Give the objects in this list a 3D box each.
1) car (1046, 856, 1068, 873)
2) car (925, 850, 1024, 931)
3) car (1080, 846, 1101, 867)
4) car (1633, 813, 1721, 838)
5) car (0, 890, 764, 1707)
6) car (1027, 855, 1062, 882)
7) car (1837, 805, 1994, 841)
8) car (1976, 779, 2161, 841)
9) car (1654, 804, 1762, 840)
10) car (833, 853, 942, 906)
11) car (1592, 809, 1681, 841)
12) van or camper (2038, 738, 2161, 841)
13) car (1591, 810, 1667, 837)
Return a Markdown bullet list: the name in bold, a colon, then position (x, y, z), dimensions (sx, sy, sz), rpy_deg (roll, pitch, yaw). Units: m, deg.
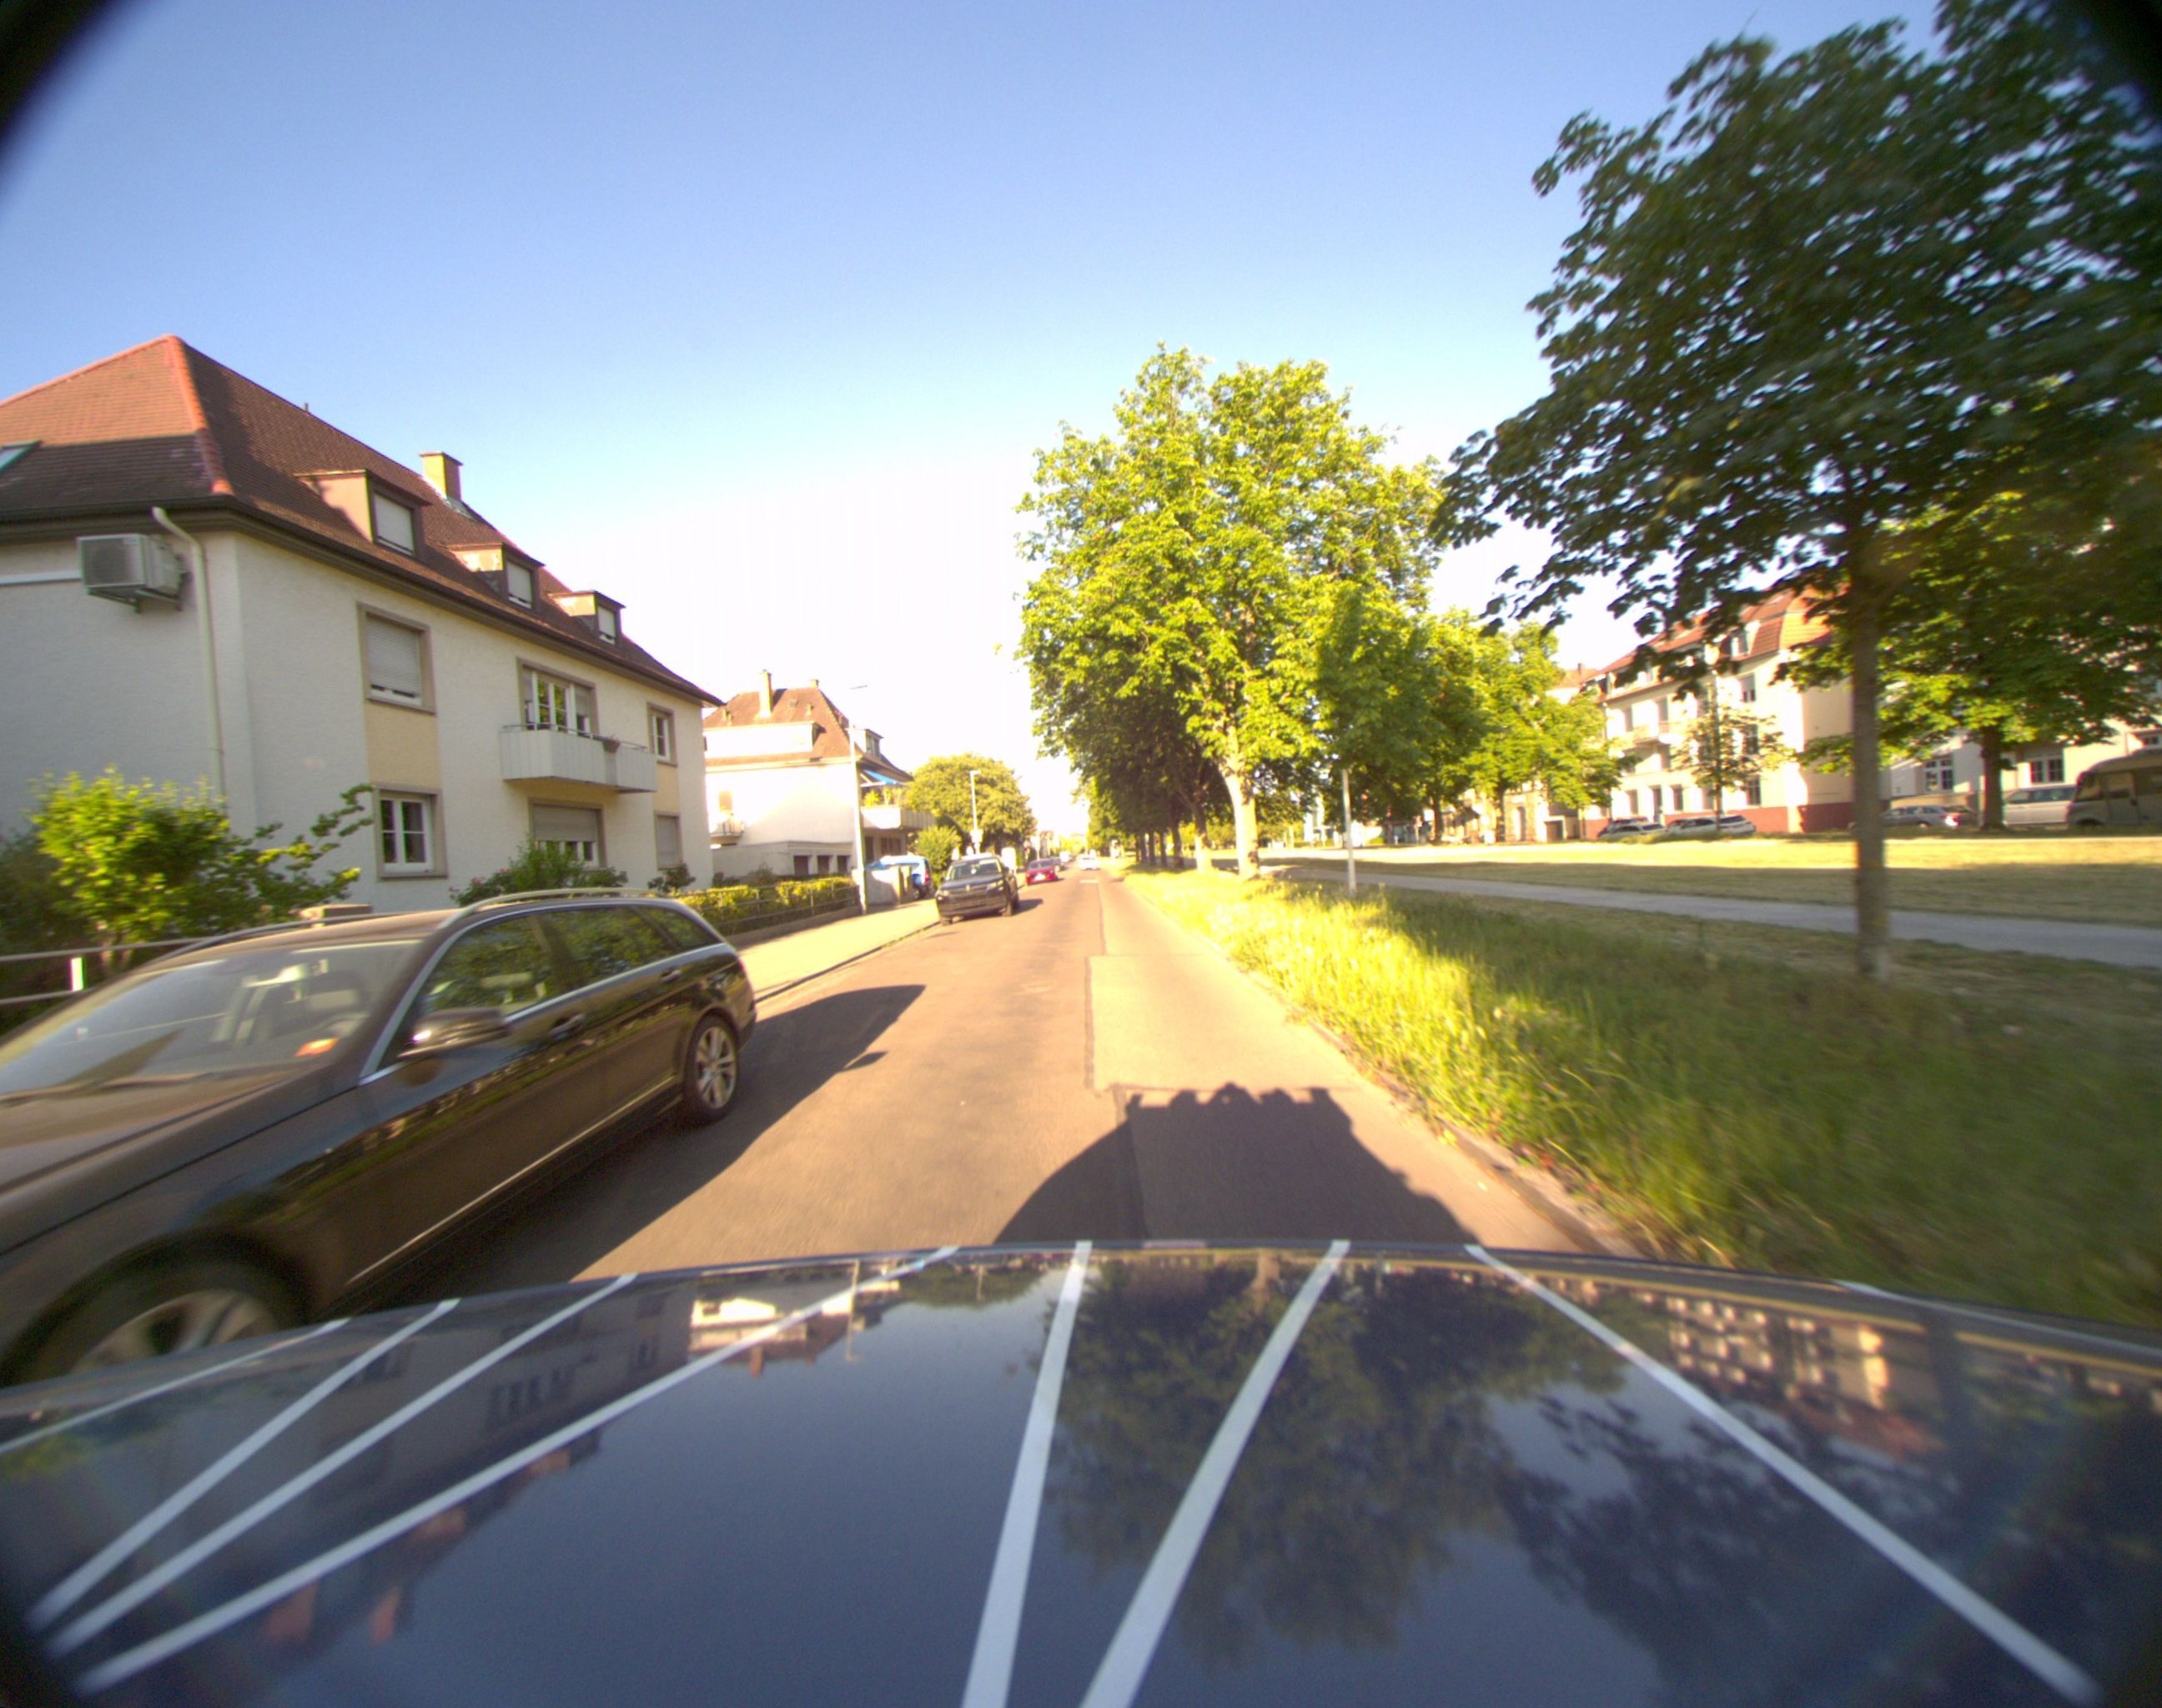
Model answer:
- **car**: position (-2.525, 1.103, 80.871), dimensions (1.998, 1.575, 4.347), rpy_deg (-4, 0, 1)
- **car**: position (-2.764, 0.890, 20.738), dimensions (1.862, 1.710, 4.467), rpy_deg (-9, 0, -1)
- **car**: position (0.991, 0.266, 79.150), dimensions (1.998, 2.002, 4.000), rpy_deg (-4, 0, 1)
- **car**: position (40.517, -1.902, 51.821), dimensions (1.999, 1.445, 4.875), rpy_deg (-4, 0, -1)
- **car**: position (-3.091, 1.080, 2.922), dimensions (1.784, 1.490, 4.397), rpy_deg (-6, 0, -1)
- **car**: position (-2.186, 0.863, 46.761), dimensions (1.824, 1.486, 4.224), rpy_deg (-4, 0, 0)
- **car**: position (40.293, -1.457, 36.909), dimensions (1.999, 1.445, 4.873), rpy_deg (-4, 0, -5)
- **car**: position (40.322, -1.701, 30.977), dimensions (1.998, 2.189, 4.876), rpy_deg (-4, 0, 3)
- **car**: position (34.589, -1.708, 42.124), dimensions (1.998, 1.680, 4.876), rpy_deg (-4, 0, 1)
- **car**: position (-8.106, 1.057, 32.161), dimensions (3.998, 1.917, 1.999), rpy_deg (-4, 0, -2)
- **car**: position (34.612, -1.766, 47.516), dimensions (1.998, 1.680, 4.876), rpy_deg (-4, 0, 1)
- **van or camper**: position (34.495, -2.080, 22.147), dimensions (3.262, 3.092, 7.897), rpy_deg (-4, 0, 1)
- **car**: position (40.996, -2.246, 57.012), dimensions (1.999, 1.680, 4.875), rpy_deg (-4, 0, -1)
